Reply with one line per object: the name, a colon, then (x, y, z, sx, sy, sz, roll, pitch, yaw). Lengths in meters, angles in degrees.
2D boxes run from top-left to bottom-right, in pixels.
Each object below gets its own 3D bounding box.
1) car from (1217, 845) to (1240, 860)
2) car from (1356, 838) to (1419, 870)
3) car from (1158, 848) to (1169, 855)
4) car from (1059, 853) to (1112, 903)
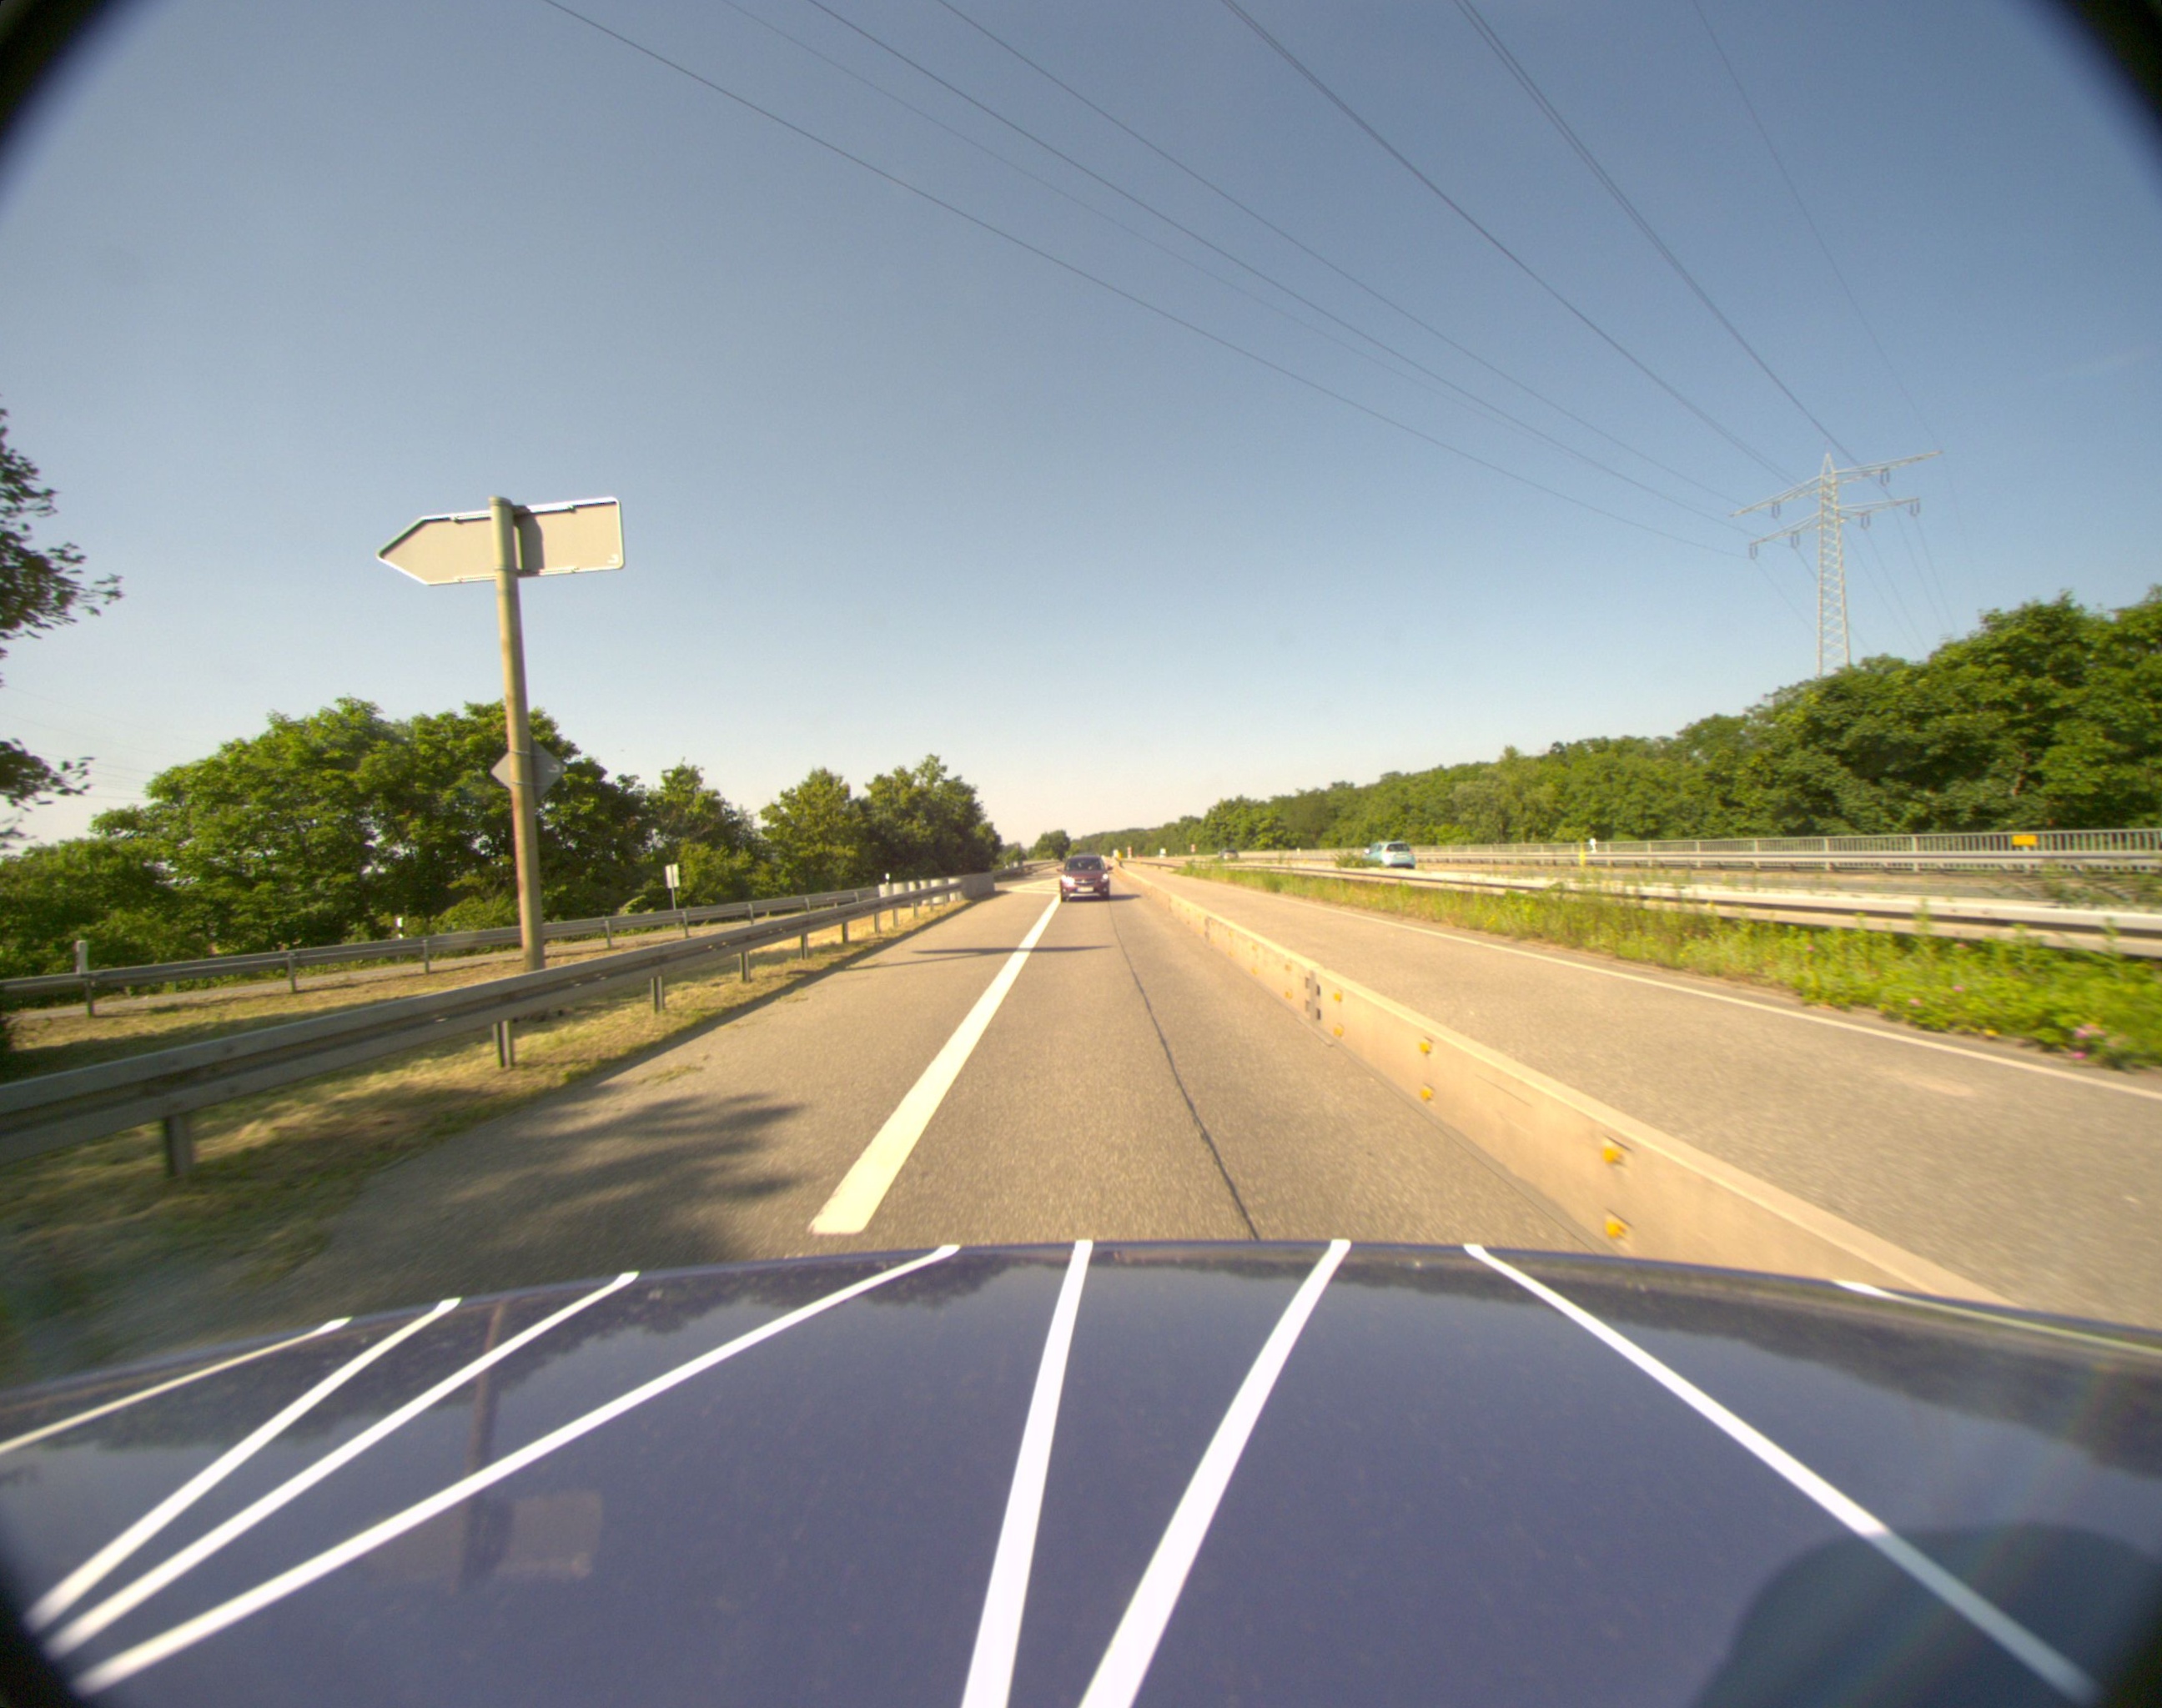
car: (16.431, -0.182, 84.744, 1.767, 1.574, 4.422, -1, 1, 1)
car: (15.498, 0.004, 38.578, 1.651, 1.522, 3.818, -1, 0, 1)
car: (17.355, -0.527, 159.610, 1.781, 1.385, 4.125, -3, 0, 1)
car: (0.223, 0.756, 26.058, 1.587, 1.491, 4.416, -2, 0, 3)
